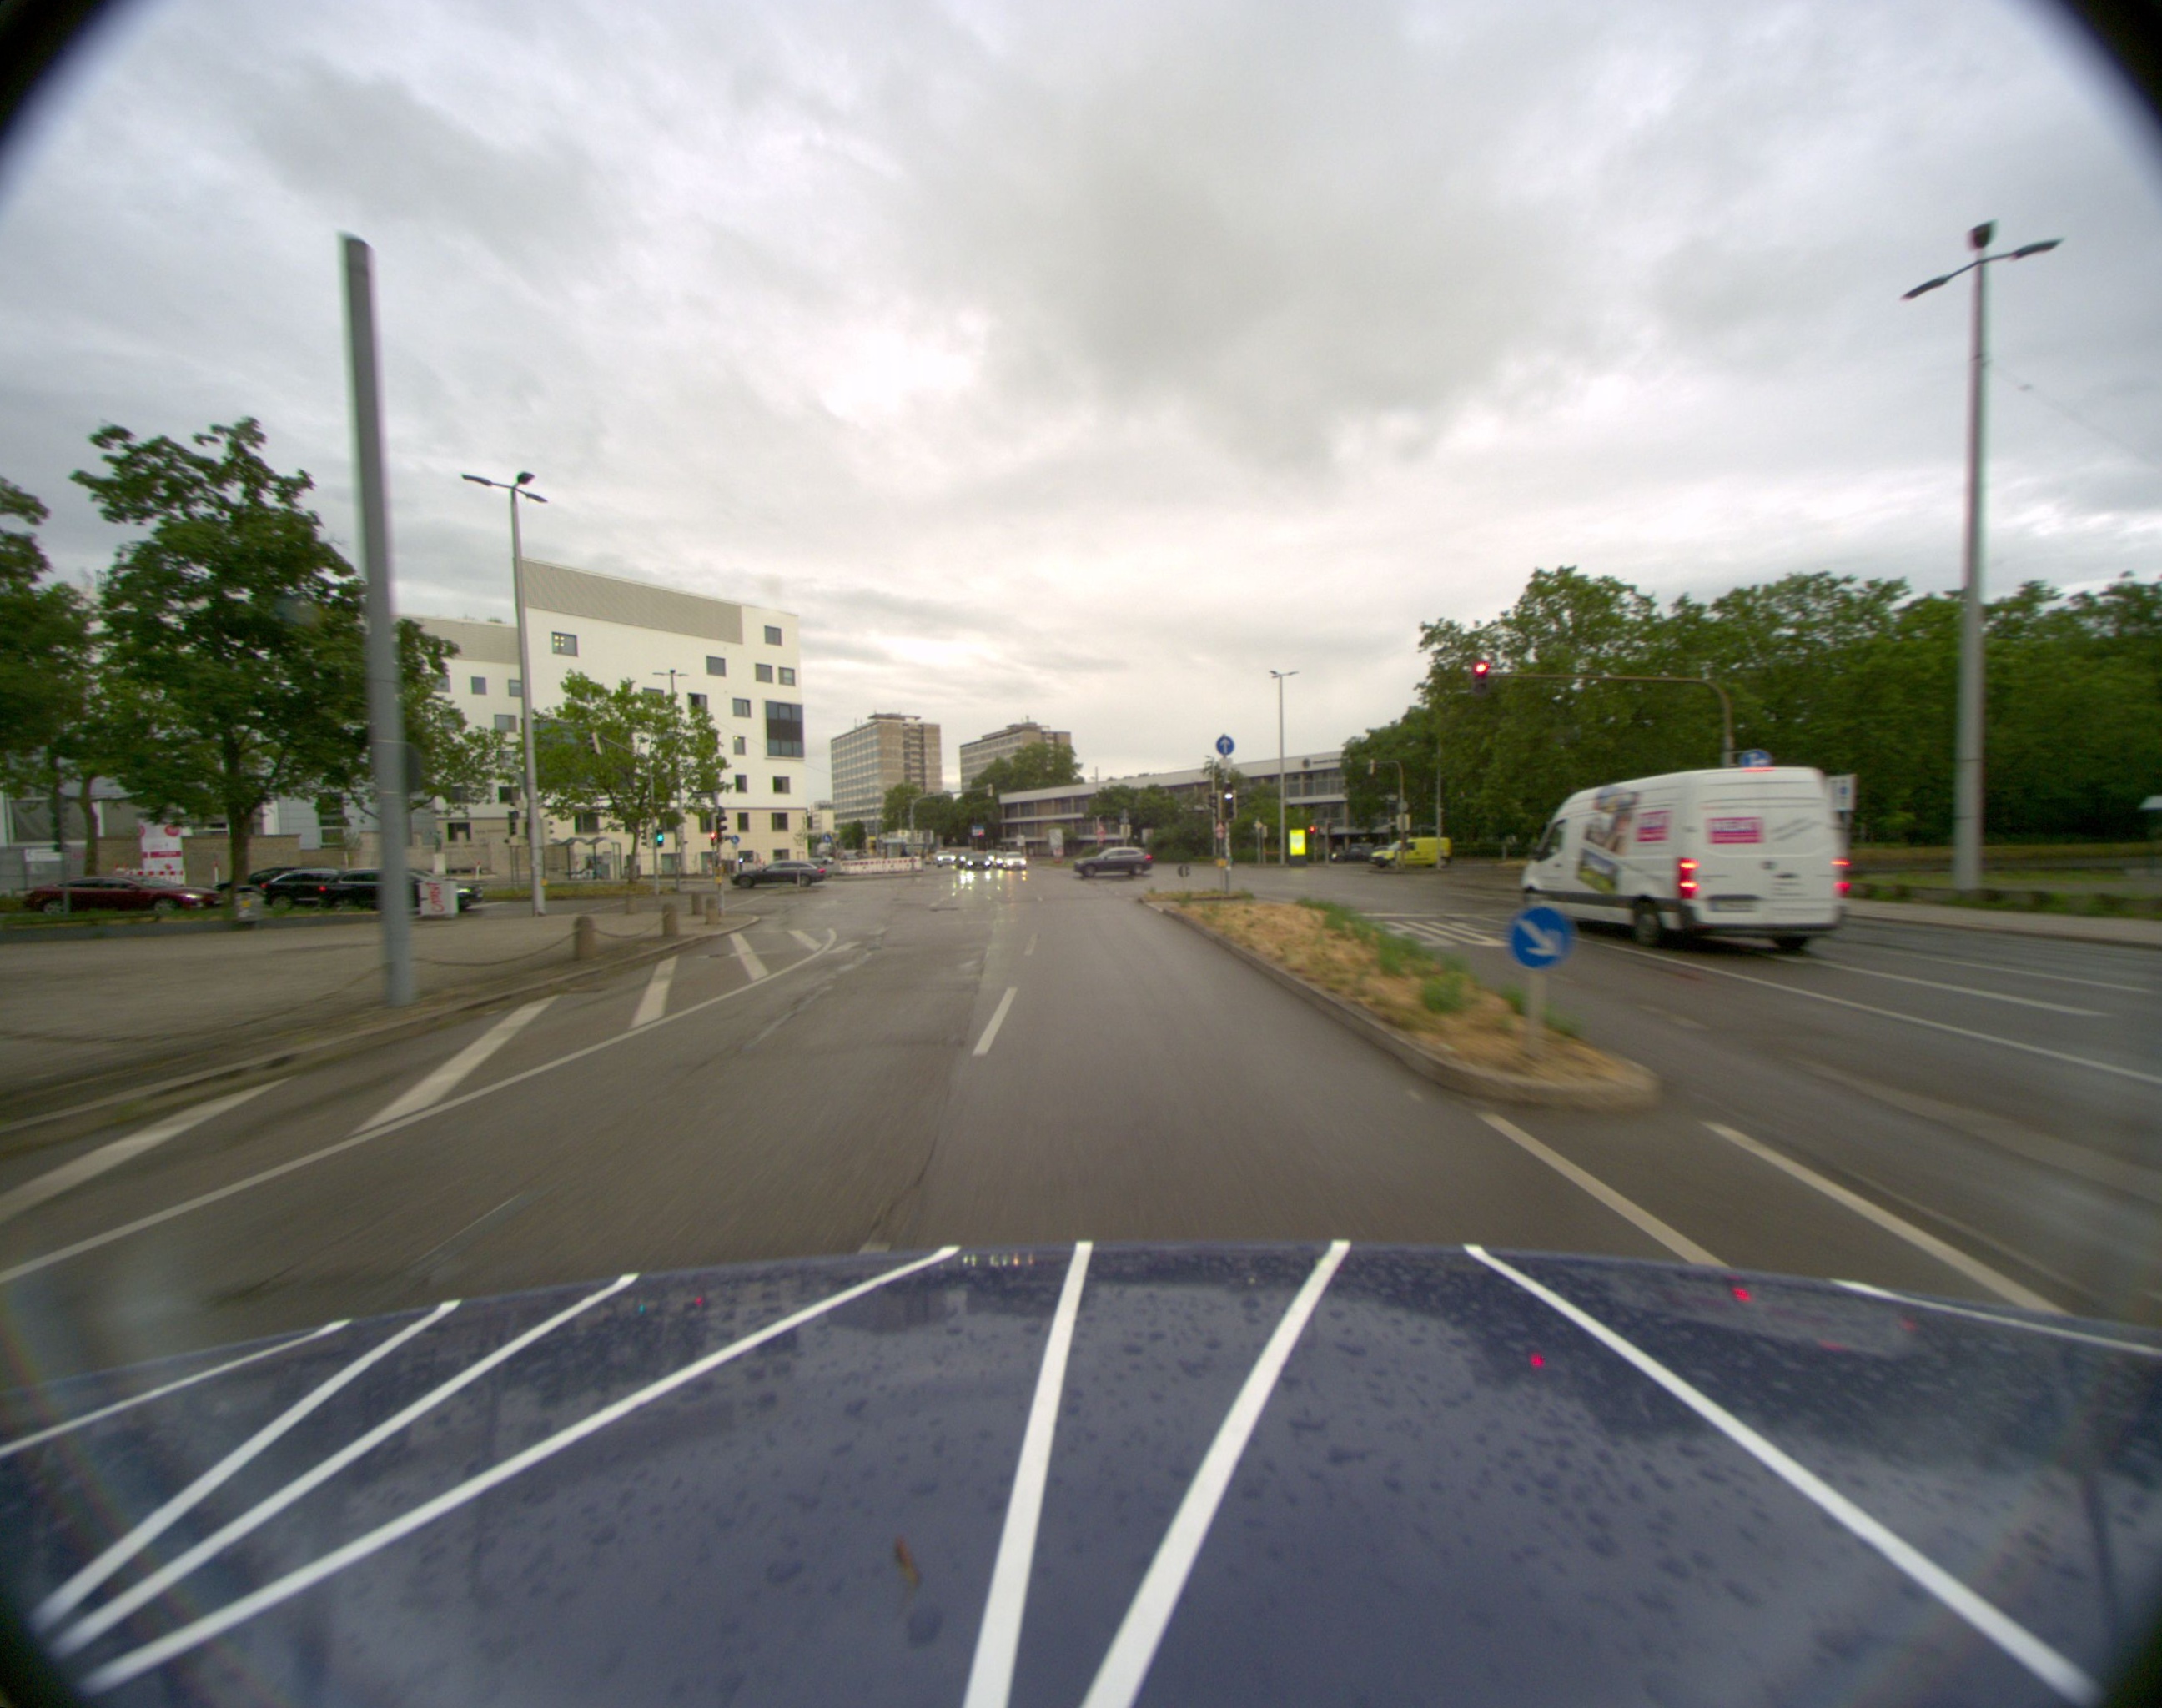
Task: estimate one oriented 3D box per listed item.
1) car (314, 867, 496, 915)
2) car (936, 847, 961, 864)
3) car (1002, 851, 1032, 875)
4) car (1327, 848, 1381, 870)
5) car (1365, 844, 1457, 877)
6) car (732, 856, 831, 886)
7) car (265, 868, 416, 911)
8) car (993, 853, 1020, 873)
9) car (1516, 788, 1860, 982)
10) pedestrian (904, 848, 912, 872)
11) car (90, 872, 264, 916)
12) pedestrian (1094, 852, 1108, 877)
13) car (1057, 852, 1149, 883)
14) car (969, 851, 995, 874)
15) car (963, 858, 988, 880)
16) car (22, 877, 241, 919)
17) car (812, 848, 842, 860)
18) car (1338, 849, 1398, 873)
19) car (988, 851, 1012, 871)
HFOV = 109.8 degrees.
[{"bbox_3d":[-24.343,1.299,27.583,4.494,1.588,1.983,0,0,-19],"label":"car"},{"bbox_3d":[-15.584,0.156,89.084,2.079,1.900,4.555,-1,0,-20],"label":"car"},{"bbox_3d":[-5.442,0.730,64.213,2.077,1.900,4.558,-1,0,-10],"label":"car"},{"bbox_3d":[21.426,0.425,59.637,3.831,1.664,1.932,-1,0,27],"label":"car"},{"bbox_3d":[20.597,0.420,47.544,4.821,1.995,2.123,-1,0,-2],"label":"car"},{"bbox_3d":[-16.348,0.908,41.740,4.842,1.523,2.094,0,0,-16],"label":"car"},{"bbox_3d":[-28.233,1.321,29.115,3.744,1.572,1.757,0,0,-19],"label":"car"},{"bbox_3d":[-6.889,0.840,70.240,2.077,1.816,4.558,-1,0,-10],"label":"car"},{"bbox_3d":[9.558,0.424,12.791,1.986,2.514,5.636,-1,0,9],"label":"car"},{"bbox_3d":[-14.757,0.517,64.768,0.643,2.002,0.594,-1,0,-13],"label":"pedestrian"},{"bbox_3d":[-39.481,1.712,33.379,4.467,1.703,2.072,0,0,-31],"label":"car"},{"bbox_3d":[1.452,0.749,56.128,0.902,1.786,0.542,-2,1,5],"label":"pedestrian"},{"bbox_3d":[1.302,0.797,45.831,5.292,1.790,2.047,-1,0,-8],"label":"car"},{"bbox_3d":[-8.392,0.695,64.097,1.884,1.857,4.343,-1,0,-10],"label":"car"},{"bbox_3d":[-9.856,1.371,70.819,2.077,1.900,4.558,-1,0,-10],"label":"car"},{"bbox_3d":[-33.876,1.524,27.297,4.617,1.358,1.777,0,0,-23],"label":"car"},{"bbox_3d":[-39.501,0.024,118.139,3.995,1.693,1.842,-1,0,6],"label":"car"},{"bbox_3d":[23.579,0.574,62.410,4.336,1.900,2.081,-1,0,27],"label":"car"},{"bbox_3d":[-8.258,0.724,77.244,2.077,1.900,4.558,-1,0,-10],"label":"car"}]
